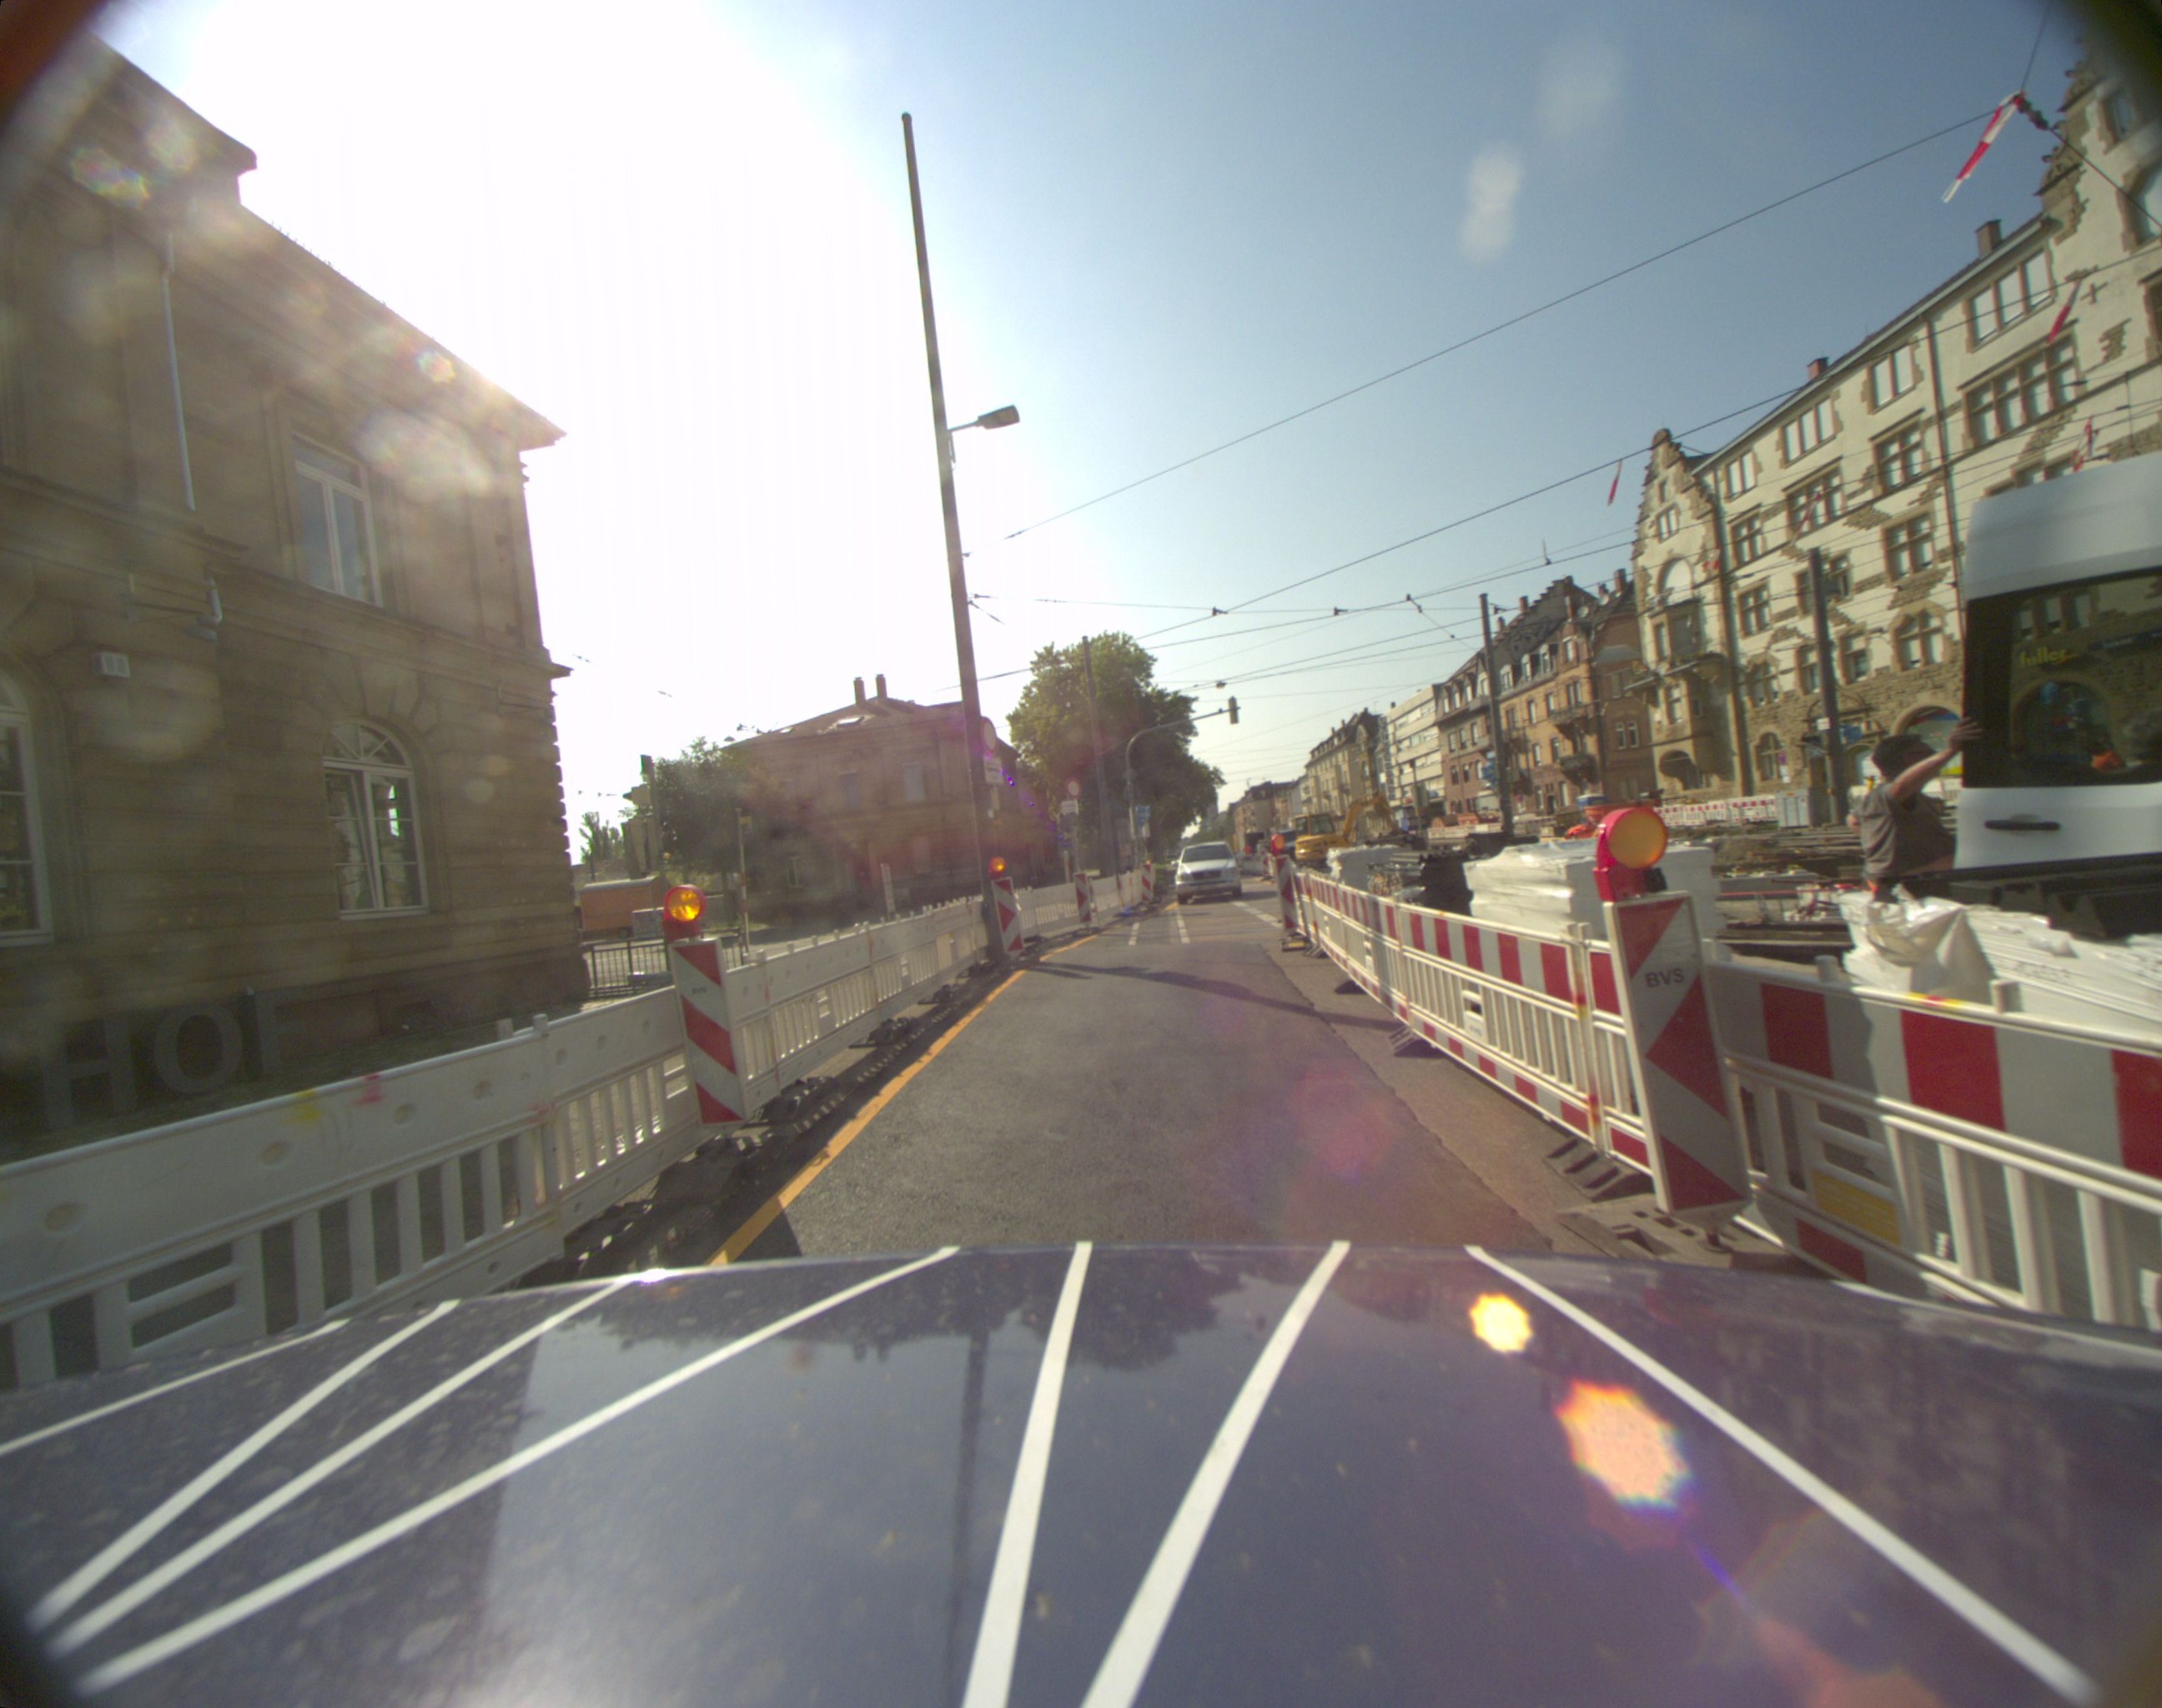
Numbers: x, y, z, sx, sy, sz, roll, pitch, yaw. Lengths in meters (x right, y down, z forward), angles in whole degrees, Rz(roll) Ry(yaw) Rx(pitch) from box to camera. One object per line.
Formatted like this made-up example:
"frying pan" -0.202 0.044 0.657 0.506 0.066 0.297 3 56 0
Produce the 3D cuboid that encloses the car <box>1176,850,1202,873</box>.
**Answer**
"car" 9.440 0.661 66.790 1.998 1.685 5.228 -6 -1 6

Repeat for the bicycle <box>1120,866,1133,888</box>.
"bicycle" 2.256 1.130 37.677 0.411 0.981 1.377 -6 0 8

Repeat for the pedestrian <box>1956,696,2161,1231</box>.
"pedestrian" 4.391 0.390 2.986 0.735 2.002 0.908 -6 0 13

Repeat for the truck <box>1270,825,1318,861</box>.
"truck" 15.243 -0.797 54.742 2.162 2.209 7.054 -6 0 8

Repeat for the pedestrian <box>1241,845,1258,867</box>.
"pedestrian" 13.684 0.165 61.734 1.034 1.700 1.096 -6 0 5

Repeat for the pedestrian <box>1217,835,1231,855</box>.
"pedestrian" 15.387 -0.976 81.578 0.909 2.002 0.913 -8 1 33

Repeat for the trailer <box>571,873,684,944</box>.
"trailer" -23.461 2.767 39.479 3.998 3.051 2.556 -6 1 -2

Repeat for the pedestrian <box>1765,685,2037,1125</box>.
"pedestrian" 4.241 0.236 4.027 0.734 2.002 0.909 -6 0 39

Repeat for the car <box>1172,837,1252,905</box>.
"car" 3.933 0.473 23.614 1.998 1.685 5.228 -6 0 6

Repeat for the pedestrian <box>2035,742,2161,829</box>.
"pedestrian" 18.985 -1.249 14.133 1.144 1.433 0.918 -6 0 7

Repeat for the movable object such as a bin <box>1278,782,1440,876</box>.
"movable object such as a bin" 12.041 -1.071 32.991 6.164 3.326 2.115 -7 0 -13

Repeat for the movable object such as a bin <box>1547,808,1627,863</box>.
"movable object such as a bin" 12.257 -0.435 18.498 0.751 1.163 2.293 -6 -1 13
